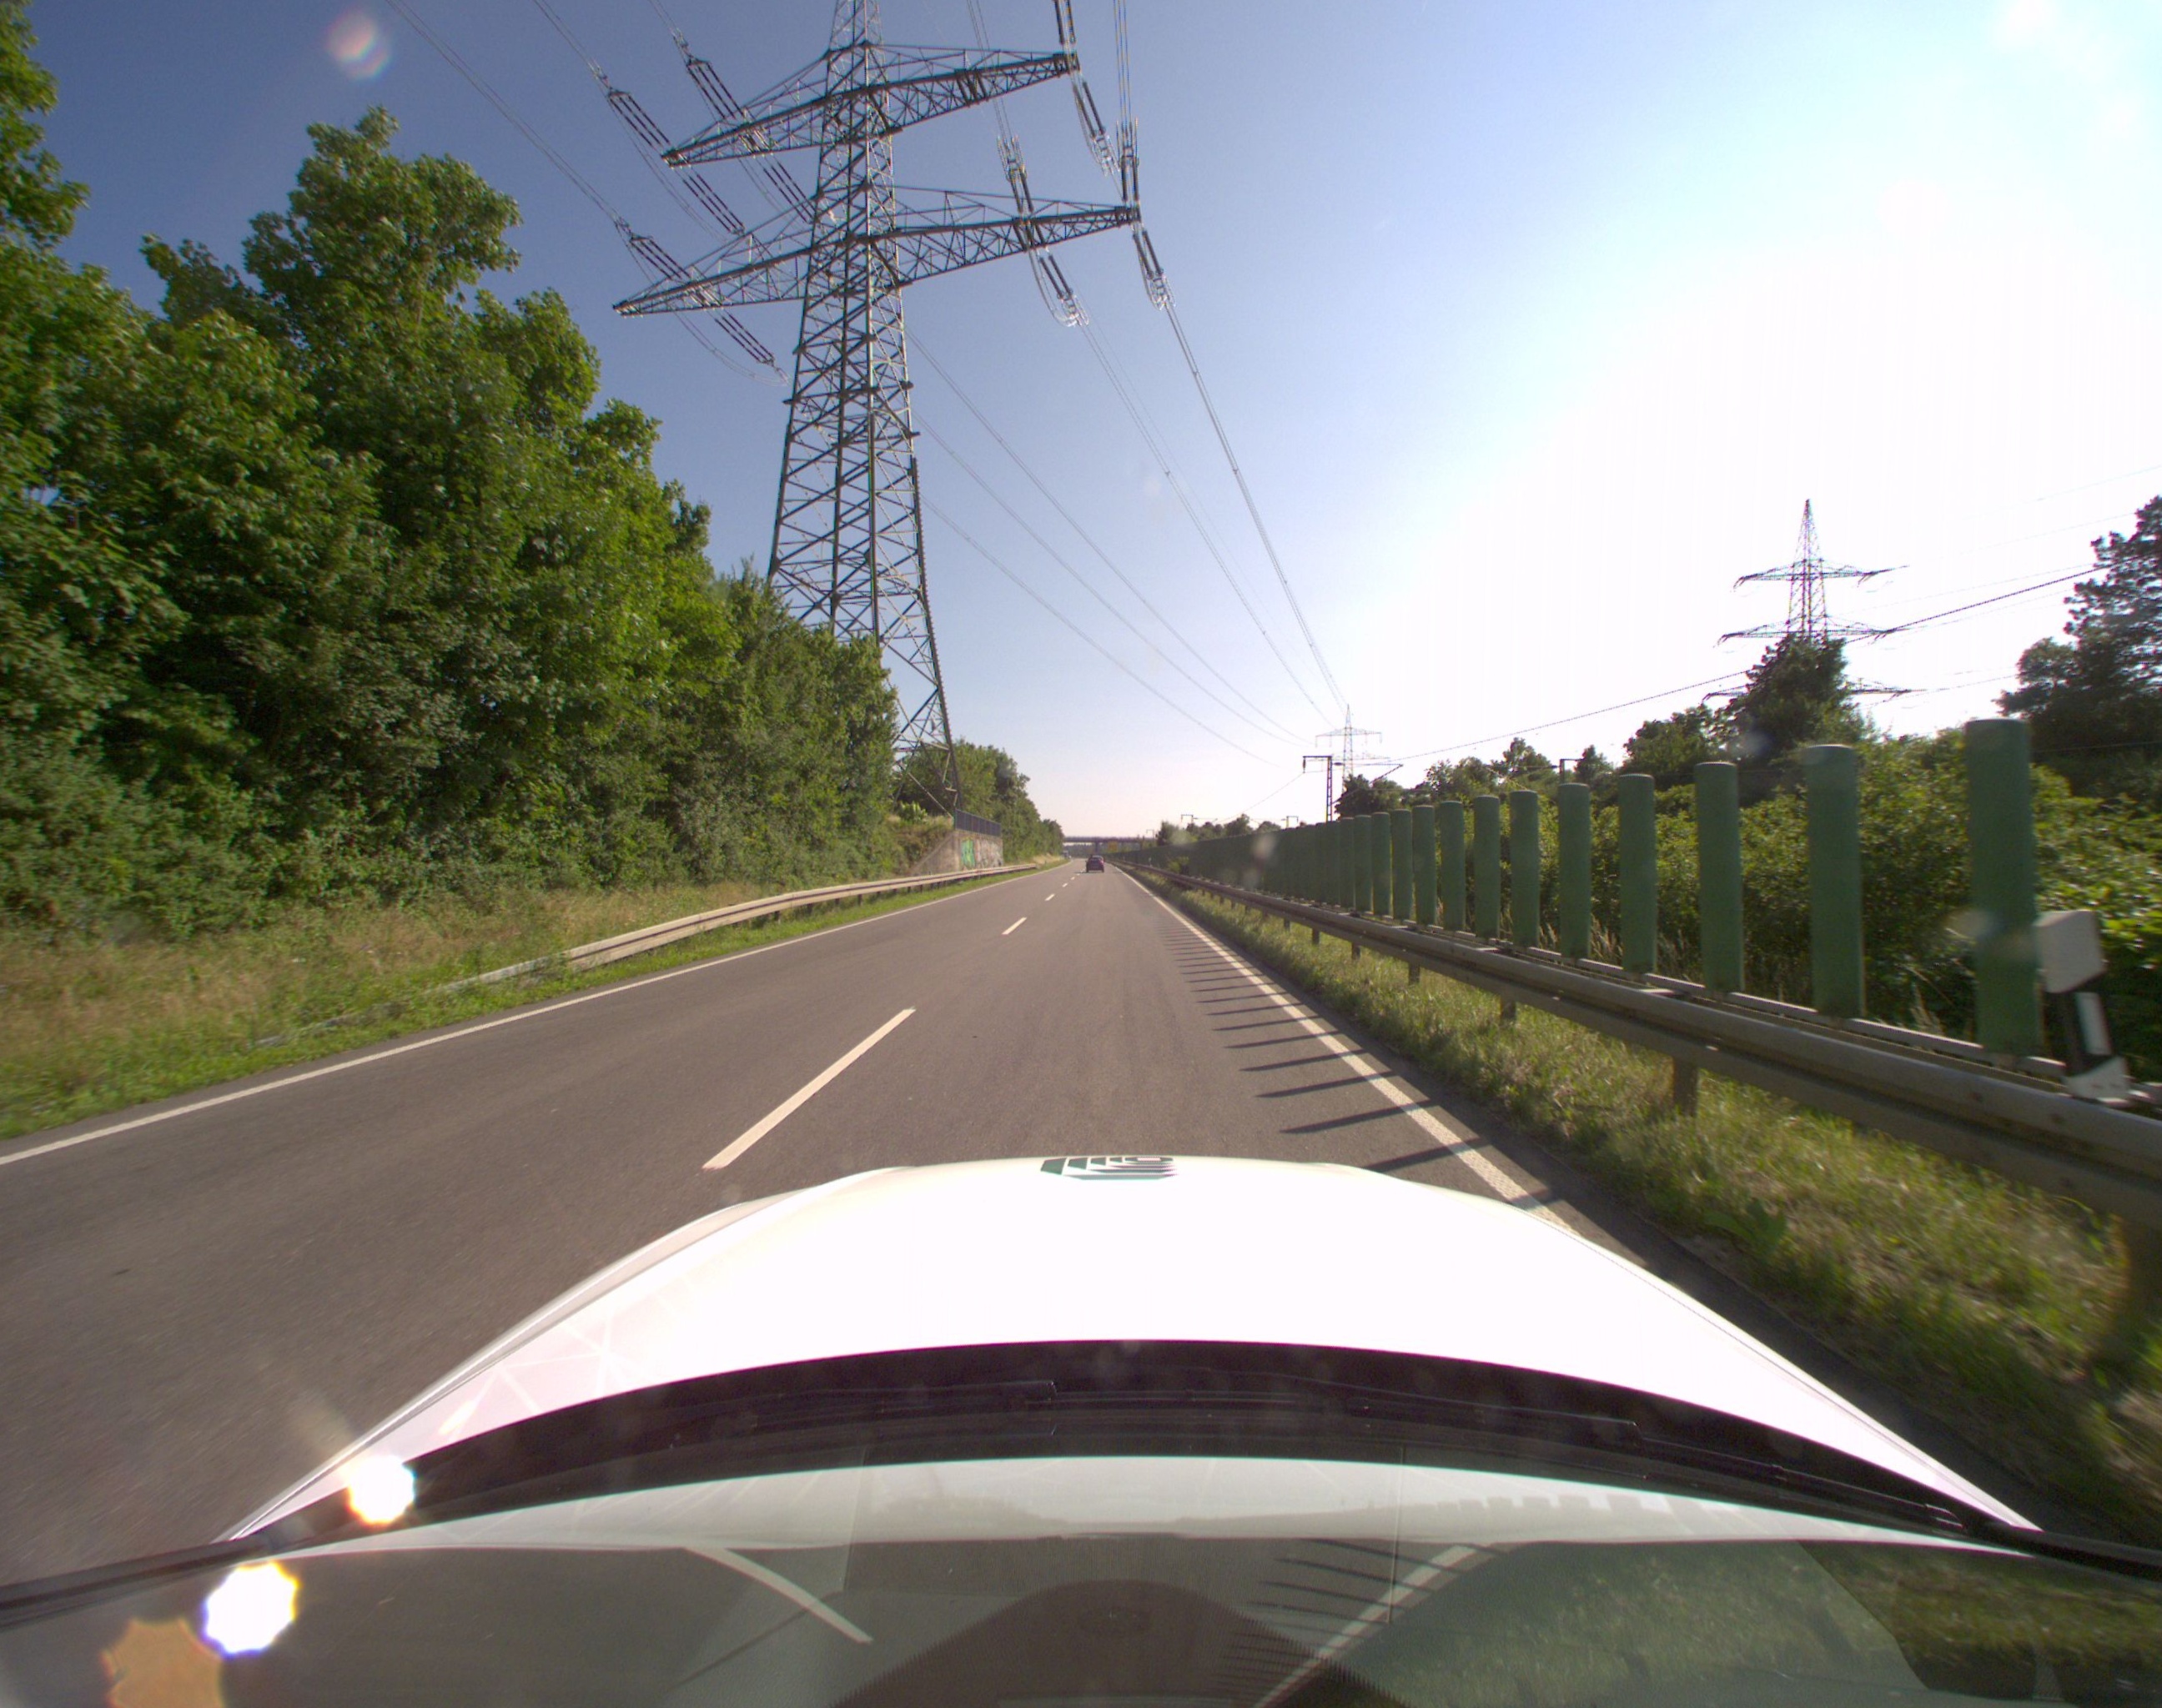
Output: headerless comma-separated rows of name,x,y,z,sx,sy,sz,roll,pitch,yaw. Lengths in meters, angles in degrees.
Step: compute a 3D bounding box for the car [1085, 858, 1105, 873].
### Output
car,1.248,1.038,74.241,1.658,1.261,3.998,-1,-1,-1
